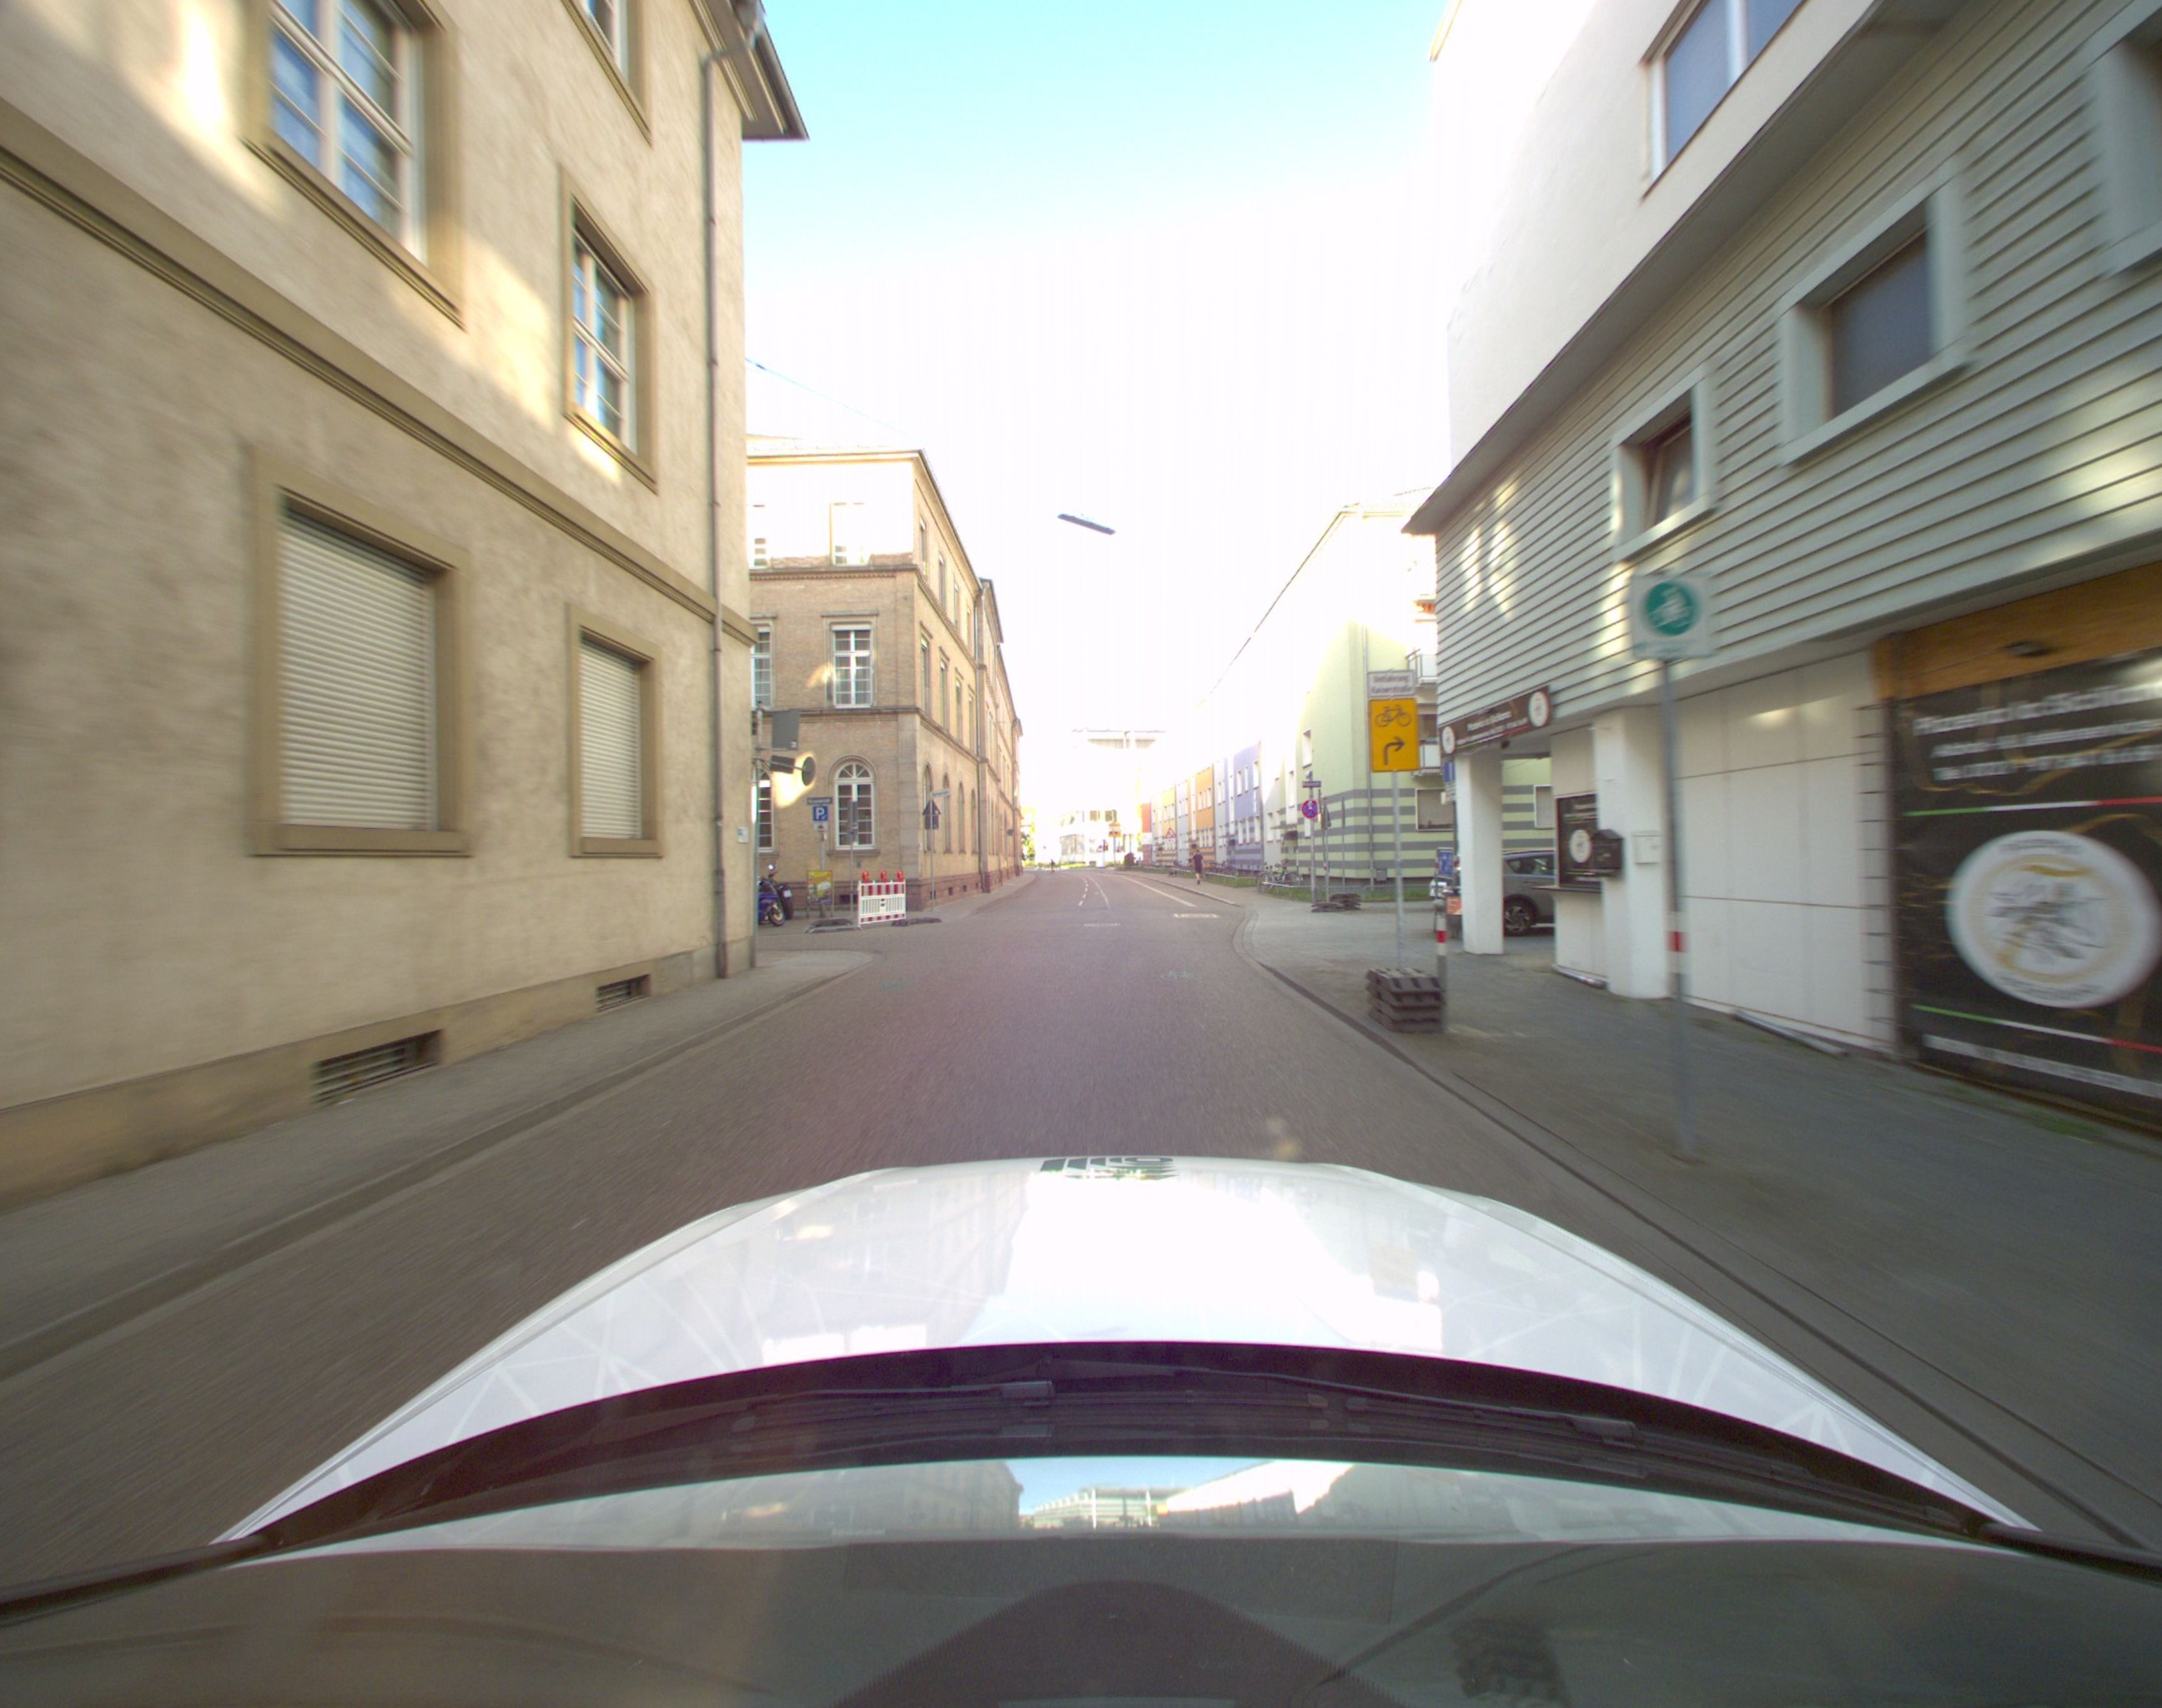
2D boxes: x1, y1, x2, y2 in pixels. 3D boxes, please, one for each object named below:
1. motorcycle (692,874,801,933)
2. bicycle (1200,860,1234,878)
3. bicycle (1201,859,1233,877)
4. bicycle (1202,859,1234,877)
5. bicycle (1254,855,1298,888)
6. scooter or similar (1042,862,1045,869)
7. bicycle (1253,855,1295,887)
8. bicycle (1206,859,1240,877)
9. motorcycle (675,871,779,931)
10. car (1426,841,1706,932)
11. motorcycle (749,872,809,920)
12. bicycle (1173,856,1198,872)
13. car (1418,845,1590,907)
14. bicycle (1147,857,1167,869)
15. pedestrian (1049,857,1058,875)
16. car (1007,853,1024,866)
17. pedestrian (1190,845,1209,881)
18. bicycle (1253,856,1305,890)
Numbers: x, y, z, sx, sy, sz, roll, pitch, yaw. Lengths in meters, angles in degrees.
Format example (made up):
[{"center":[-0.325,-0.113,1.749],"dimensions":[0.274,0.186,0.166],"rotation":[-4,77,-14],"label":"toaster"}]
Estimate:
[{"center":[-7.744,1.113,18.962],"dimensions":[0.580,1.173,2.297],"rotation":[2,3,42],"label":"motorcycle"},{"center":[7.458,0.819,44.804],"dimensions":[1.743,0.946,0.552],"rotation":[-2,-1,-1],"label":"bicycle"},{"center":[7.878,0.810,47.080],"dimensions":[1.743,0.946,0.335],"rotation":[-2,-1,-1],"label":"bicycle"},{"center":[7.820,0.779,46.601],"dimensions":[1.742,0.946,0.326],"rotation":[-2,-1,0],"label":"bicycle"},{"center":[7.744,0.686,32.288],"dimensions":[1.640,1.141,0.282],"rotation":[-5,0,-9],"label":"bicycle"},{"center":[-5.739,1.819,125.427],"dimensions":[0.325,1.059,1.137],"rotation":[-1,0,-12],"label":"scooter or similar"},{"center":[7.713,0.689,32.562],"dimensions":[1.602,1.141,0.236],"rotation":[-5,0,-9],"label":"bicycle"},{"center":[7.948,0.765,45.536],"dimensions":[1.743,0.946,0.552],"rotation":[-2,-1,-1],"label":"bicycle"},{"center":[-8.601,1.109,19.864],"dimensions":[2.213,1.293,0.580],"rotation":[-2,0,-43],"label":"motorcycle"},{"center":[8.821,0.570,15.065],"dimensions":[4.065,1.482,1.865],"rotation":[-2,-1,-1],"label":"car"},{"center":[-7.979,1.072,21.468],"dimensions":[0.664,1.173,2.174],"rotation":[-2,0,-43],"label":"motorcycle"},{"center":[7.892,0.777,61.378],"dimensions":[1.806,1.137,0.551],"rotation":[-2,-1,-2],"label":"bicycle"},{"center":[10.733,0.553,20.843],"dimensions":[3.533,1.482,1.709],"rotation":[-1,-1,0],"label":"car"},{"center":[7.036,0.827,75.702],"dimensions":[1.751,1.004,0.612],"rotation":[-3,-1,-6],"label":"bicycle"},{"center":[-3.231,1.358,94.100],"dimensions":[0.895,2.014,0.751],"rotation":[-2,-1,-8],"label":"pedestrian"},{"center":[-11.577,0.978,143.299],"dimensions":[2.426,2.112,5.209],"rotation":[1,-1,-12],"label":"car"},{"center":[6.008,0.457,41.367],"dimensions":[0.694,1.760,1.188],"rotation":[-4,0,0],"label":"pedestrian"},{"center":[7.505,0.699,30.873],"dimensions":[1.743,1.141,0.552],"rotation":[-5,0,-1],"label":"bicycle"}]
